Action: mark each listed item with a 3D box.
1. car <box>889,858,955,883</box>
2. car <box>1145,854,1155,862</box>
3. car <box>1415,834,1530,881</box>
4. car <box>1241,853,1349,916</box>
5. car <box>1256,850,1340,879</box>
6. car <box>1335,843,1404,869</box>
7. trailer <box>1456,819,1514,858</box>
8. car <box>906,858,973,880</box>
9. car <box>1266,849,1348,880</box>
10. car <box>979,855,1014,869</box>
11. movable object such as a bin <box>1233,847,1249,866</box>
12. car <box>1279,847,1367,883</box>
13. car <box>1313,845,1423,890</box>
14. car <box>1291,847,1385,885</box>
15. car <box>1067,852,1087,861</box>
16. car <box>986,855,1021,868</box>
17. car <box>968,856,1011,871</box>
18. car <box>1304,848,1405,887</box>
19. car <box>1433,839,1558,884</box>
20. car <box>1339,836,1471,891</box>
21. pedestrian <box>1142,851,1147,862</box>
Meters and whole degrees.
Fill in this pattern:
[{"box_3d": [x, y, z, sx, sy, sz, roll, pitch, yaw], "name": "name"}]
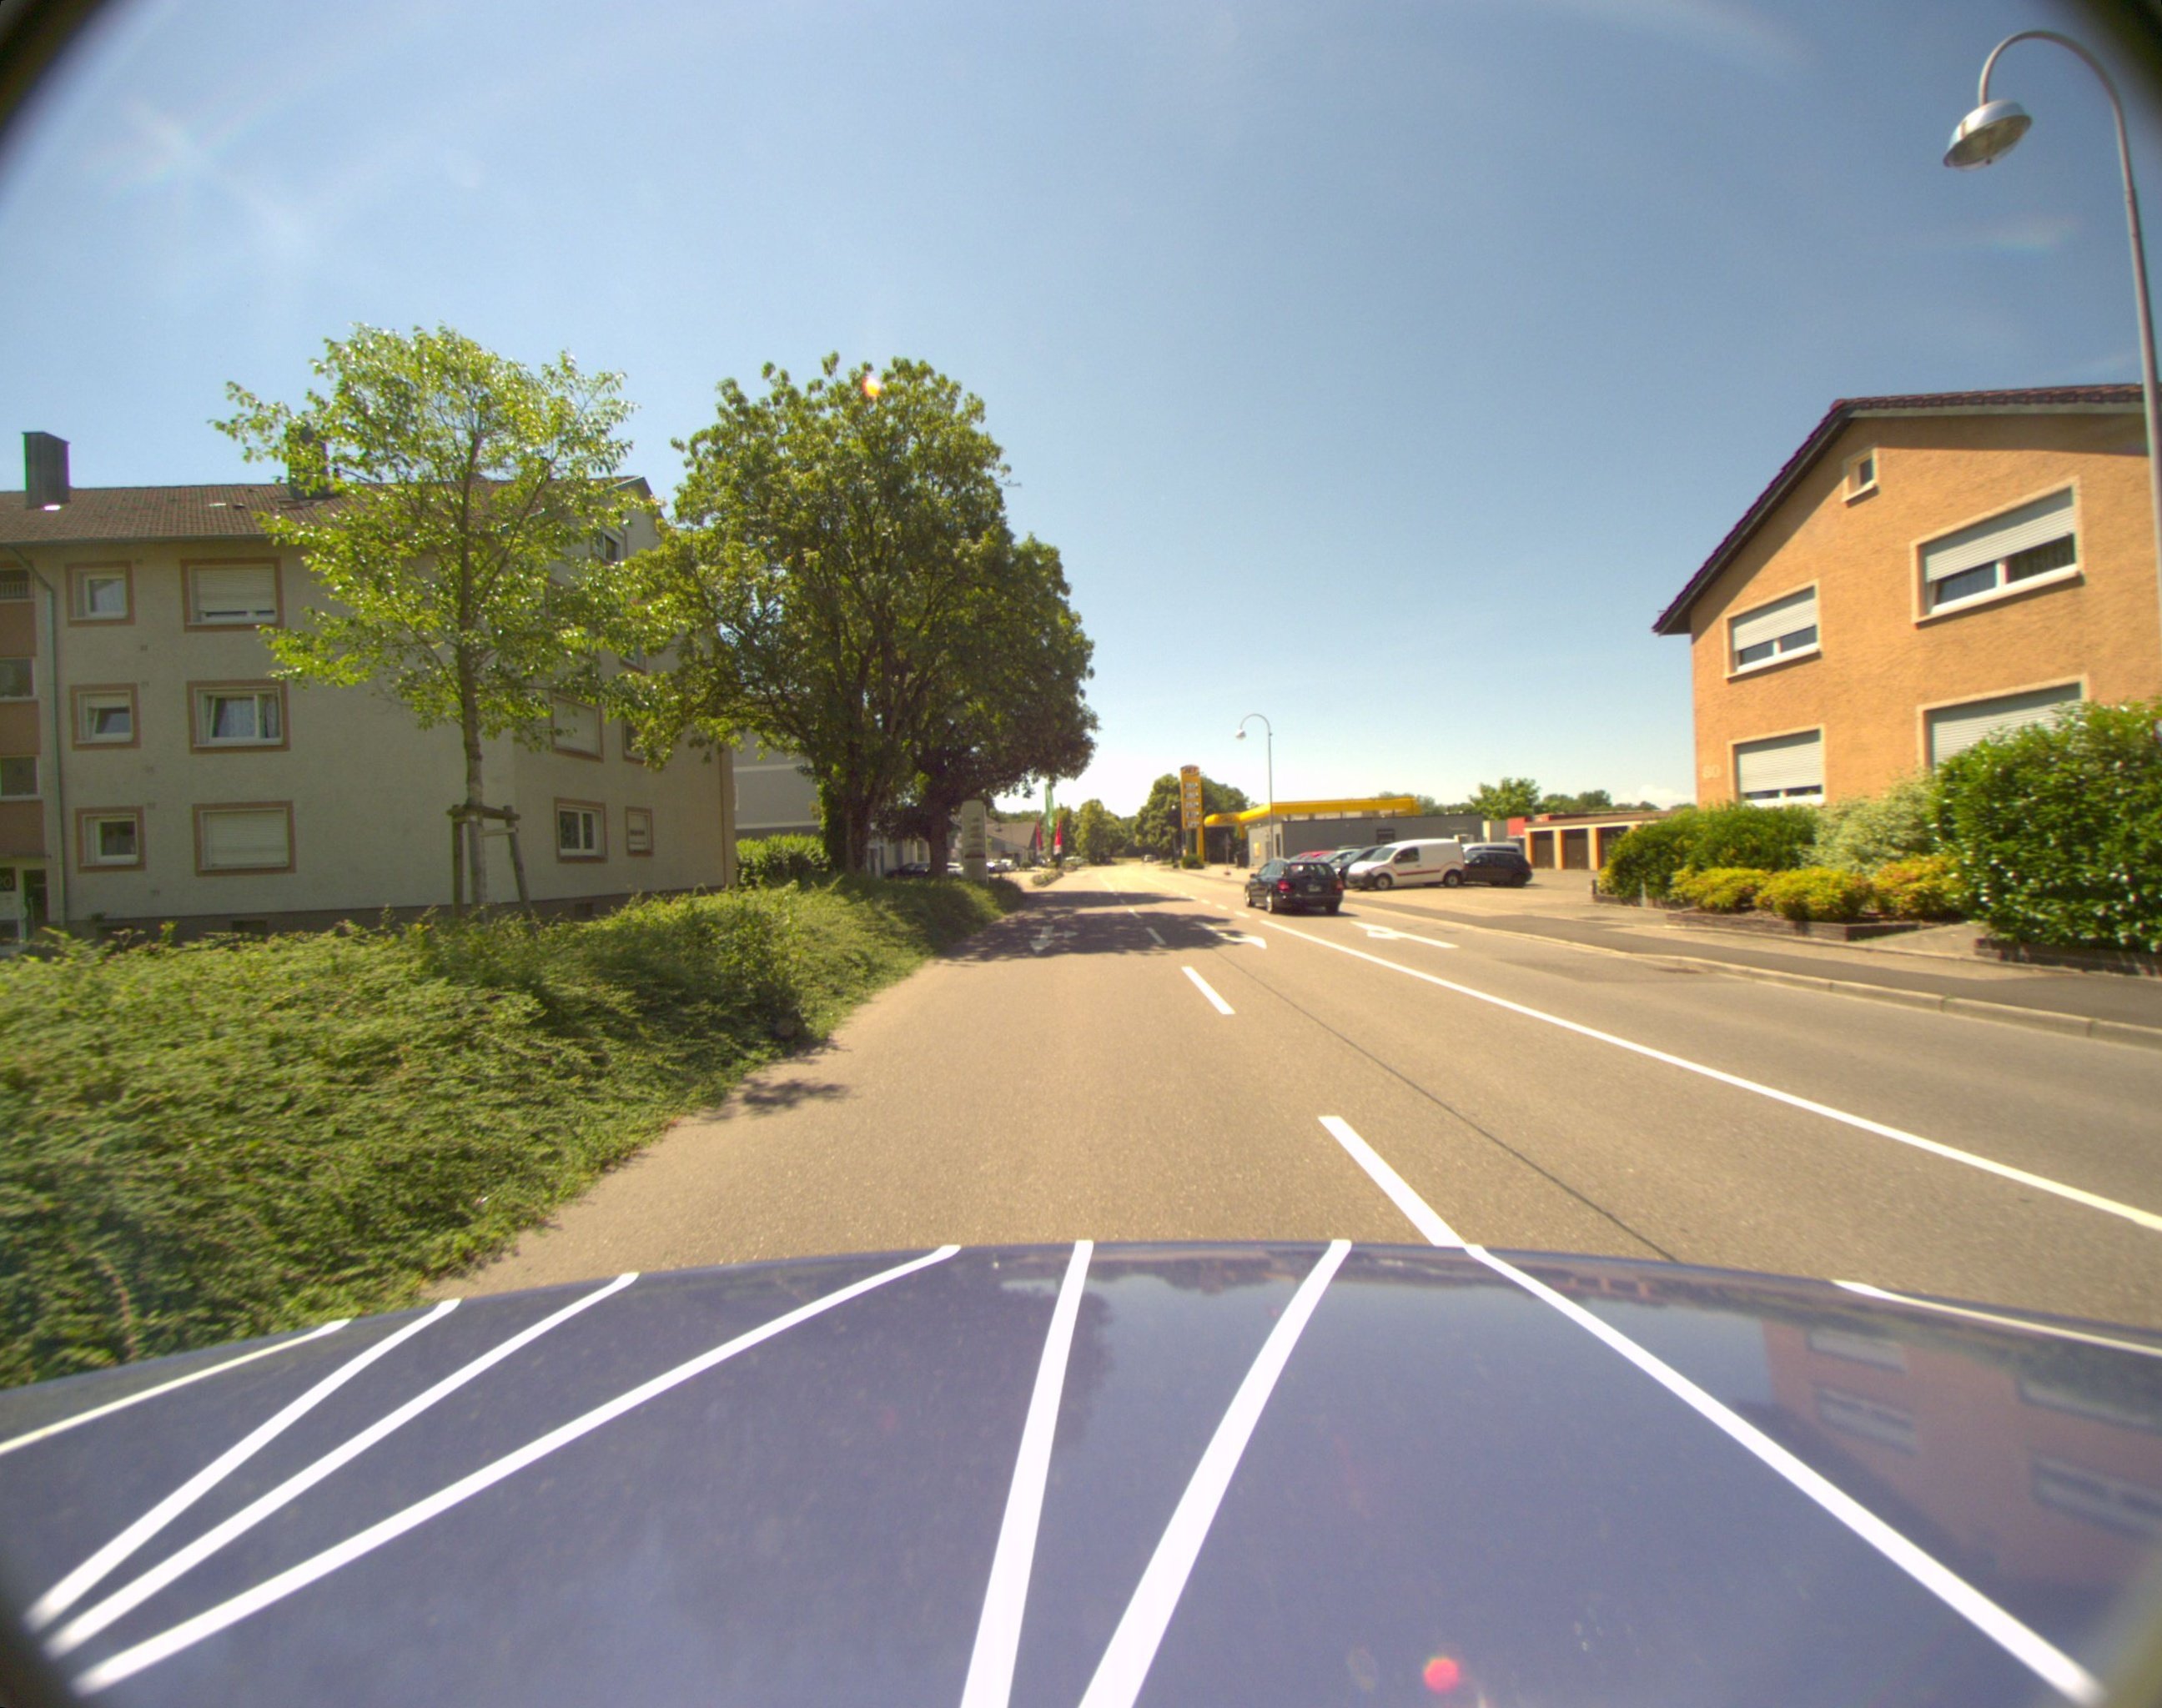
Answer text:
[{"box_3d": [-10.572, 1.089, 50.823, 3.997, 1.541, 1.797, -1, 1, 0], "name": "car"}, {"box_3d": [15.160, 0.775, 166.408, 1.973, 1.662, 4.250, -1, 0, 6], "name": "car"}, {"box_3d": [16.806, 0.150, 32.763, 3.912, 1.850, 2.000, -1, 0, -1], "name": "car"}, {"box_3d": [5.688, 0.768, 20.772, 1.714, 1.486, 4.277, -2, 0, 0], "name": "car"}, {"box_3d": [12.002, 0.553, 42.203, 4.136, 1.435, 1.826, -2, 1, 0], "name": "car"}, {"box_3d": [19.528, 0.104, 51.559, 3.996, 1.575, 1.754, -2, 1, 4], "name": "car"}, {"box_3d": [34.686, -1.254, 65.449, 1.869, 3.200, 5.914, -2, 0, 1], "name": "trailer"}, {"box_3d": [-10.181, 1.075, 54.620, 4.362, 1.363, 1.952, -2, 1, -22], "name": "car"}, {"box_3d": [11.808, 0.521, 39.891, 3.673, 1.449, 1.892, -2, 1, -1], "name": "car"}, {"box_3d": [-10.476, 0.981, 94.106, 3.859, 1.524, 1.680, -1, 1, 19], "name": "car"}, {"box_3d": [13.804, 0.254, 65.545, 0.954, 1.508, 1.428, -6, -1, 2], "name": "movable object such as a bin"}, {"box_3d": [11.836, 0.530, 37.360, 3.673, 1.596, 1.881, -2, 1, -1], "name": "car"}, {"box_3d": [11.574, 0.526, 30.796, 3.673, 1.663, 1.922, -2, 1, -1], "name": "car"}, {"box_3d": [11.840, 0.534, 35.168, 3.673, 1.572, 1.922, -2, 1, -1], "name": "car"}, {"box_3d": [-0.649, 0.454, 133.995, 3.405, 1.497, 1.582, -2, 0, 2], "name": "car"}, {"box_3d": [-9.799, 0.940, 96.145, 3.992, 1.452, 1.807, -2, 1, 17], "name": "car"}, {"box_3d": [-10.693, 1.075, 88.856, 4.586, 1.632, 2.003, -1, 1, 20], "name": "car"}, {"box_3d": [11.852, 0.563, 33.061, 3.673, 1.523, 1.922, -2, 1, -1], "name": "car"}, {"box_3d": [16.647, 0.311, 30.640, 3.997, 1.559, 1.830, -3, -1, -1], "name": "car"}, {"box_3d": [12.167, 0.335, 28.696, 4.105, 1.887, 1.999, -2, 1, -4], "name": "car"}, {"box_3d": [10.614, 0.385, 127.494, 0.730, 1.779, 0.621, -2, 1, 14], "name": "pedestrian"}]
